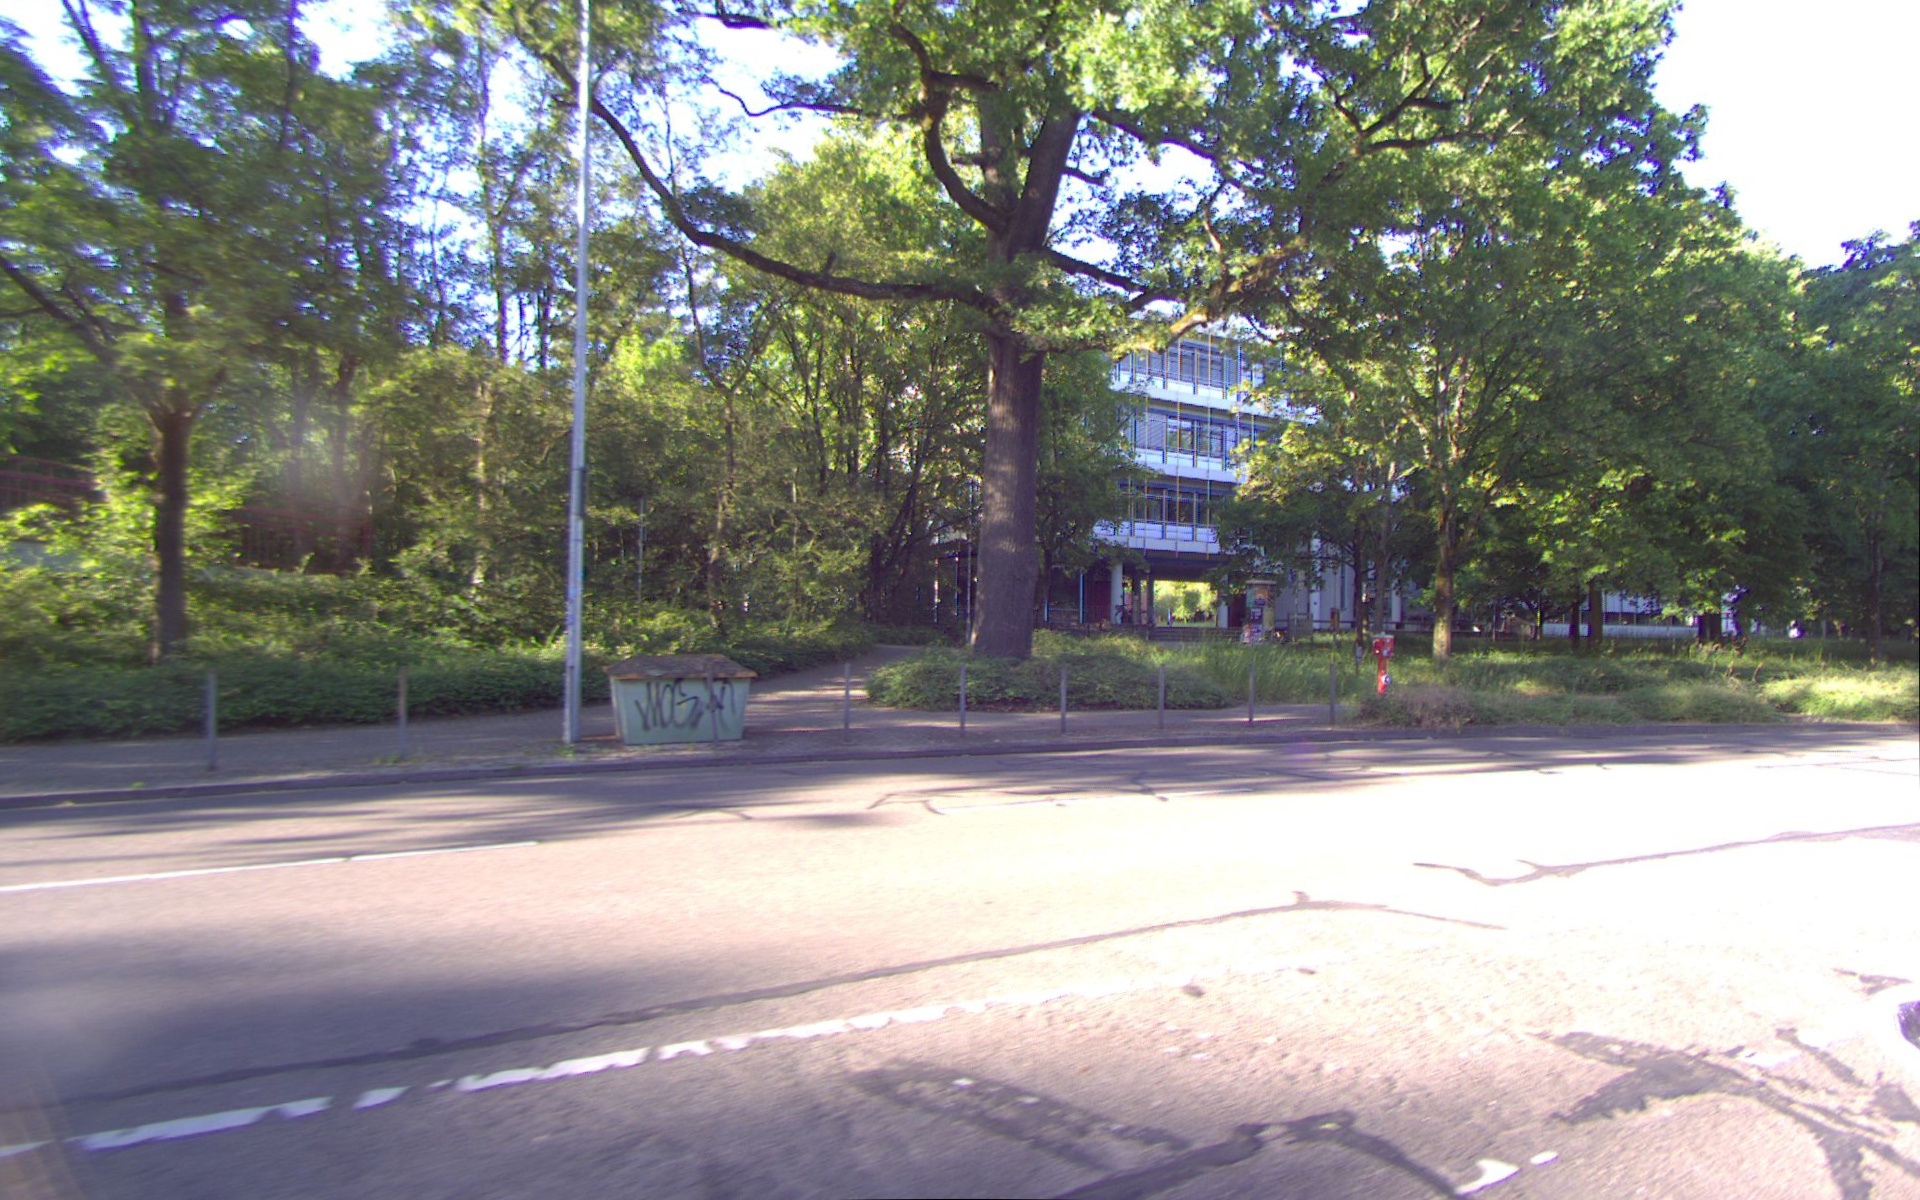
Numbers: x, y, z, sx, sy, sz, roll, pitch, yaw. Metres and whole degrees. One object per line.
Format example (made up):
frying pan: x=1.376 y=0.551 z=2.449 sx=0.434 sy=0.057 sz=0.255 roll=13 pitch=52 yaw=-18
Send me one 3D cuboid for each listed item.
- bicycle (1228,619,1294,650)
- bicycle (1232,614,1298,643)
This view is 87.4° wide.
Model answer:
bicycle: x=11.667 y=1.325 z=39.009 sx=2.380 sy=1.086 sz=0.537 roll=1 pitch=3 yaw=9
bicycle: x=12.257 y=1.132 z=40.342 sx=2.589 sy=1.086 sz=0.535 roll=1 pitch=4 yaw=-13
